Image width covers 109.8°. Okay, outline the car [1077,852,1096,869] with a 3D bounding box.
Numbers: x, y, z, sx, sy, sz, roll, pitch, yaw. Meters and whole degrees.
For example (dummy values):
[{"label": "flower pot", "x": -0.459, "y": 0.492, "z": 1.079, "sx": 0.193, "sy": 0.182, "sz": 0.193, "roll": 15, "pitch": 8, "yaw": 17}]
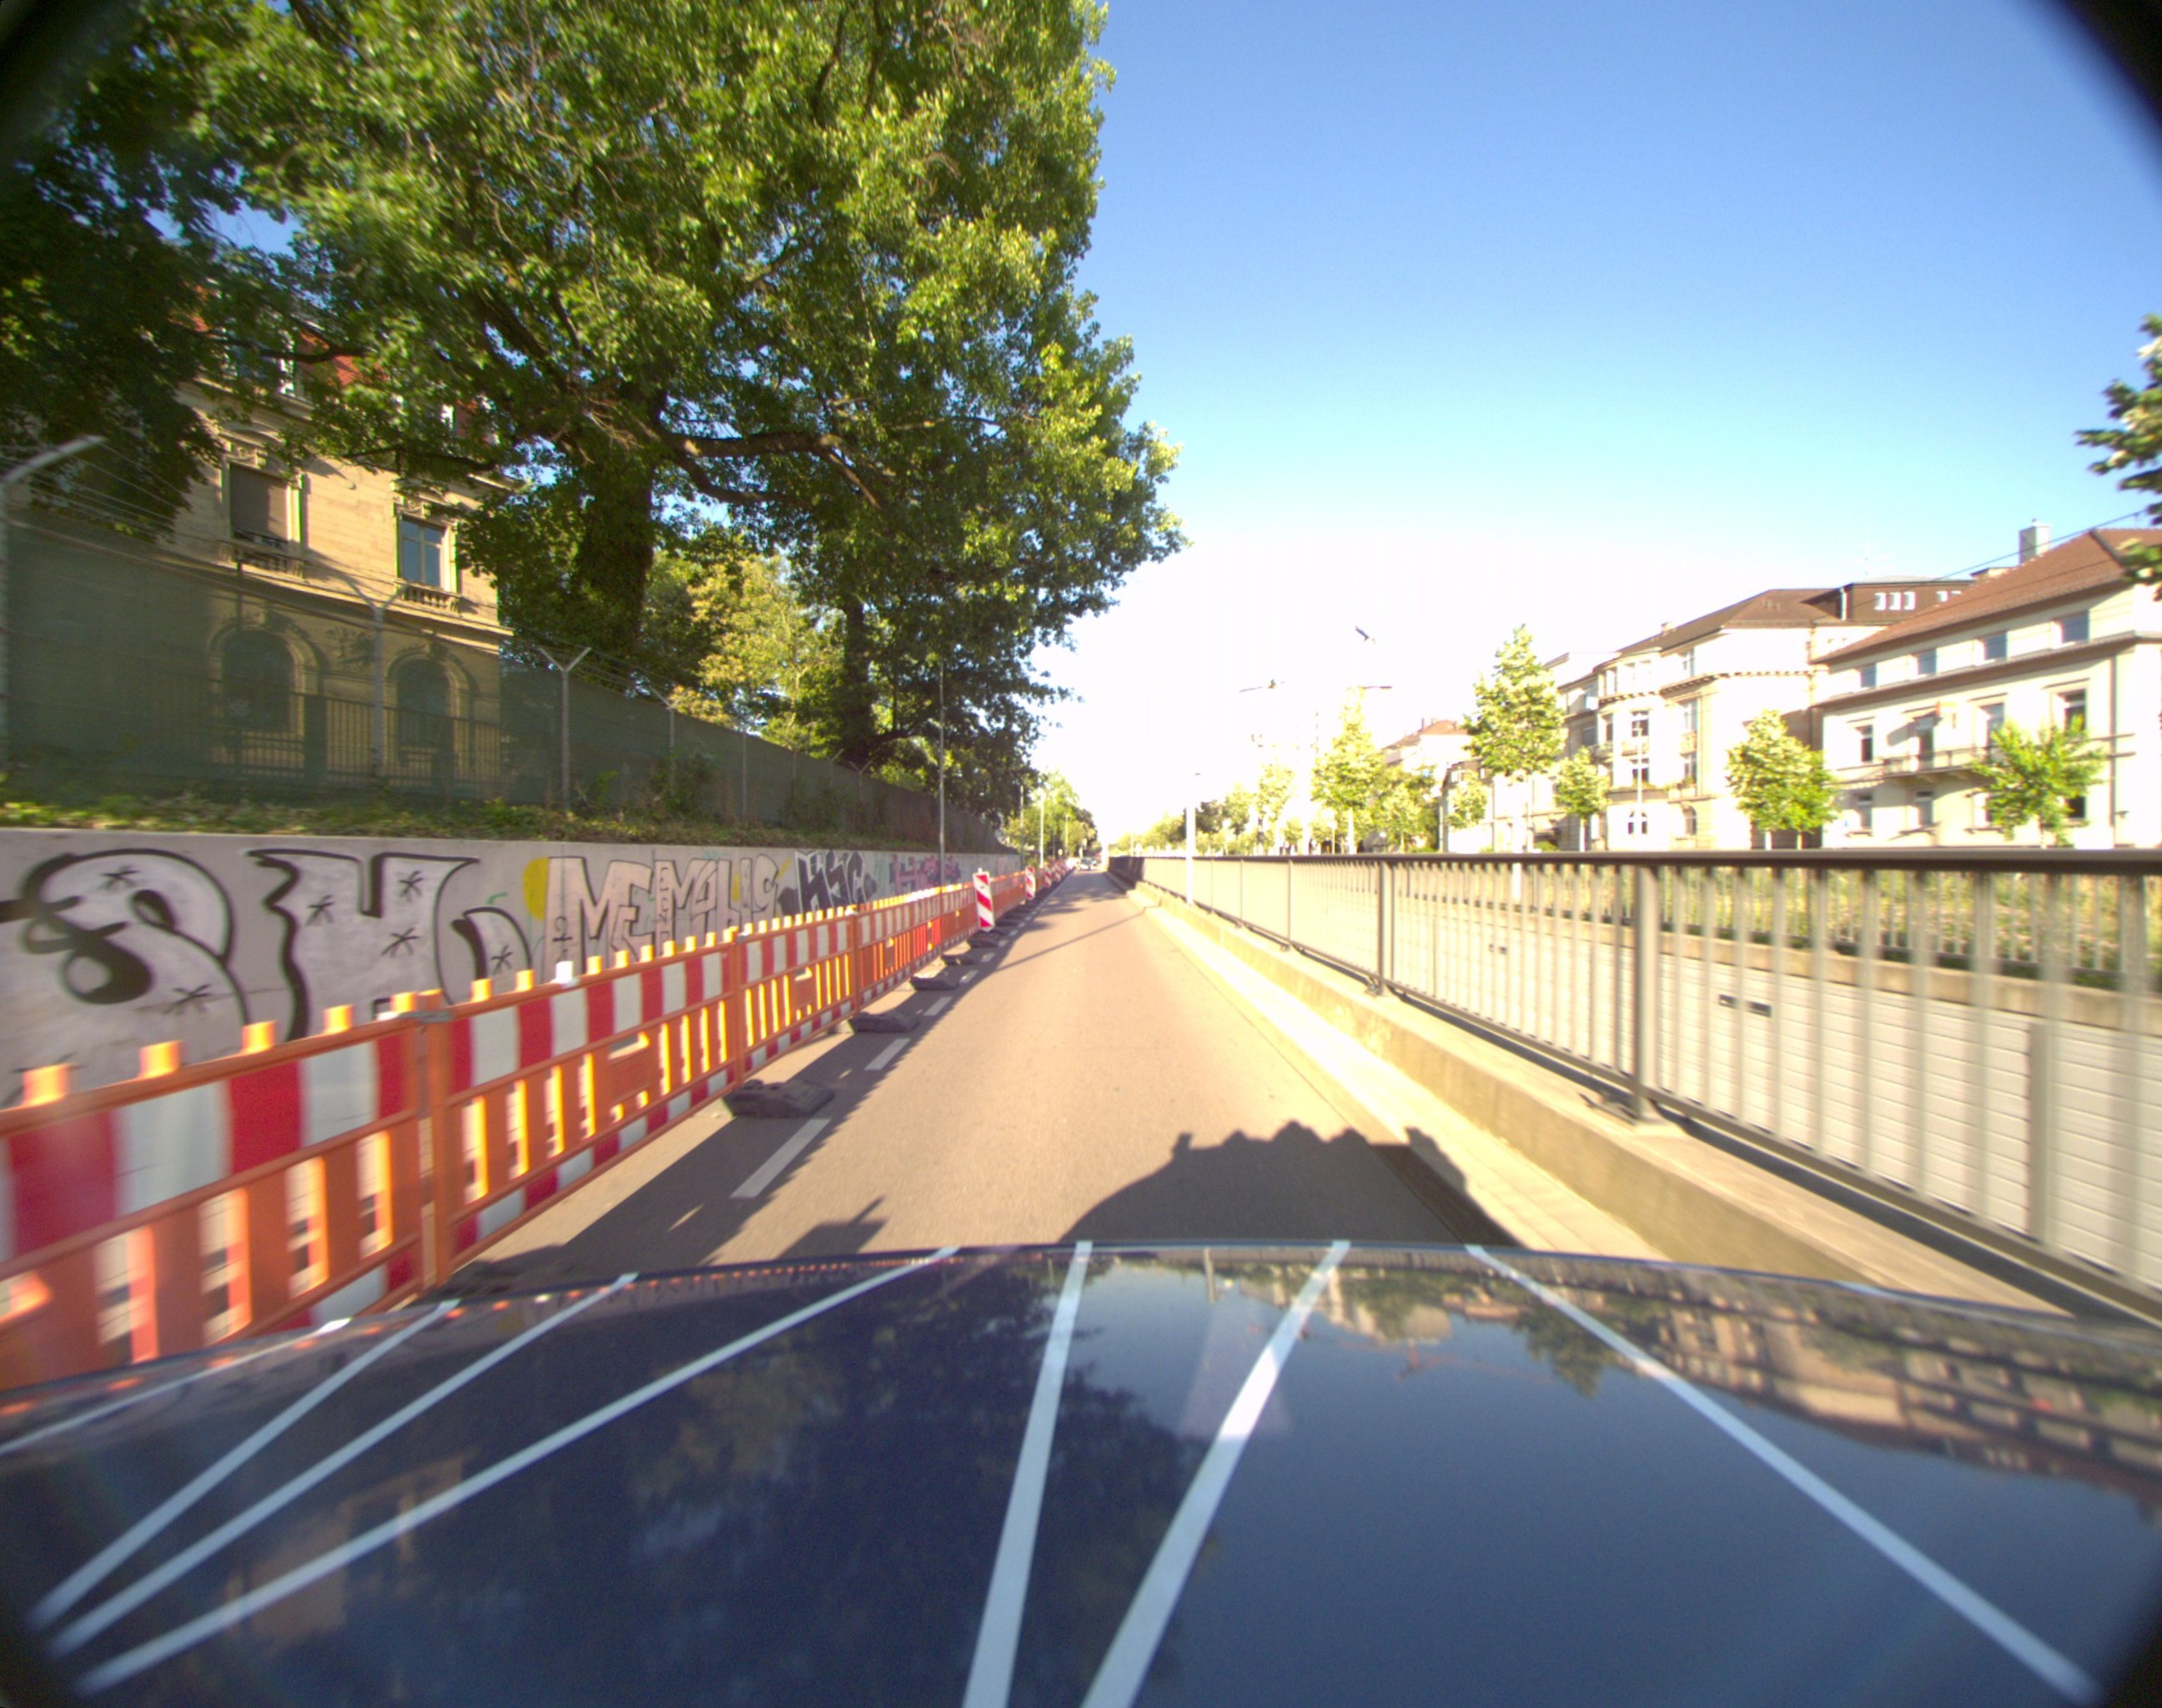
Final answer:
[{"label": "car", "x": 0.647, "y": 0.653, "z": 84.282, "sx": 2.080, "sy": 1.827, "sz": 4.000, "roll": 0, "pitch": 0, "yaw": 1}]
